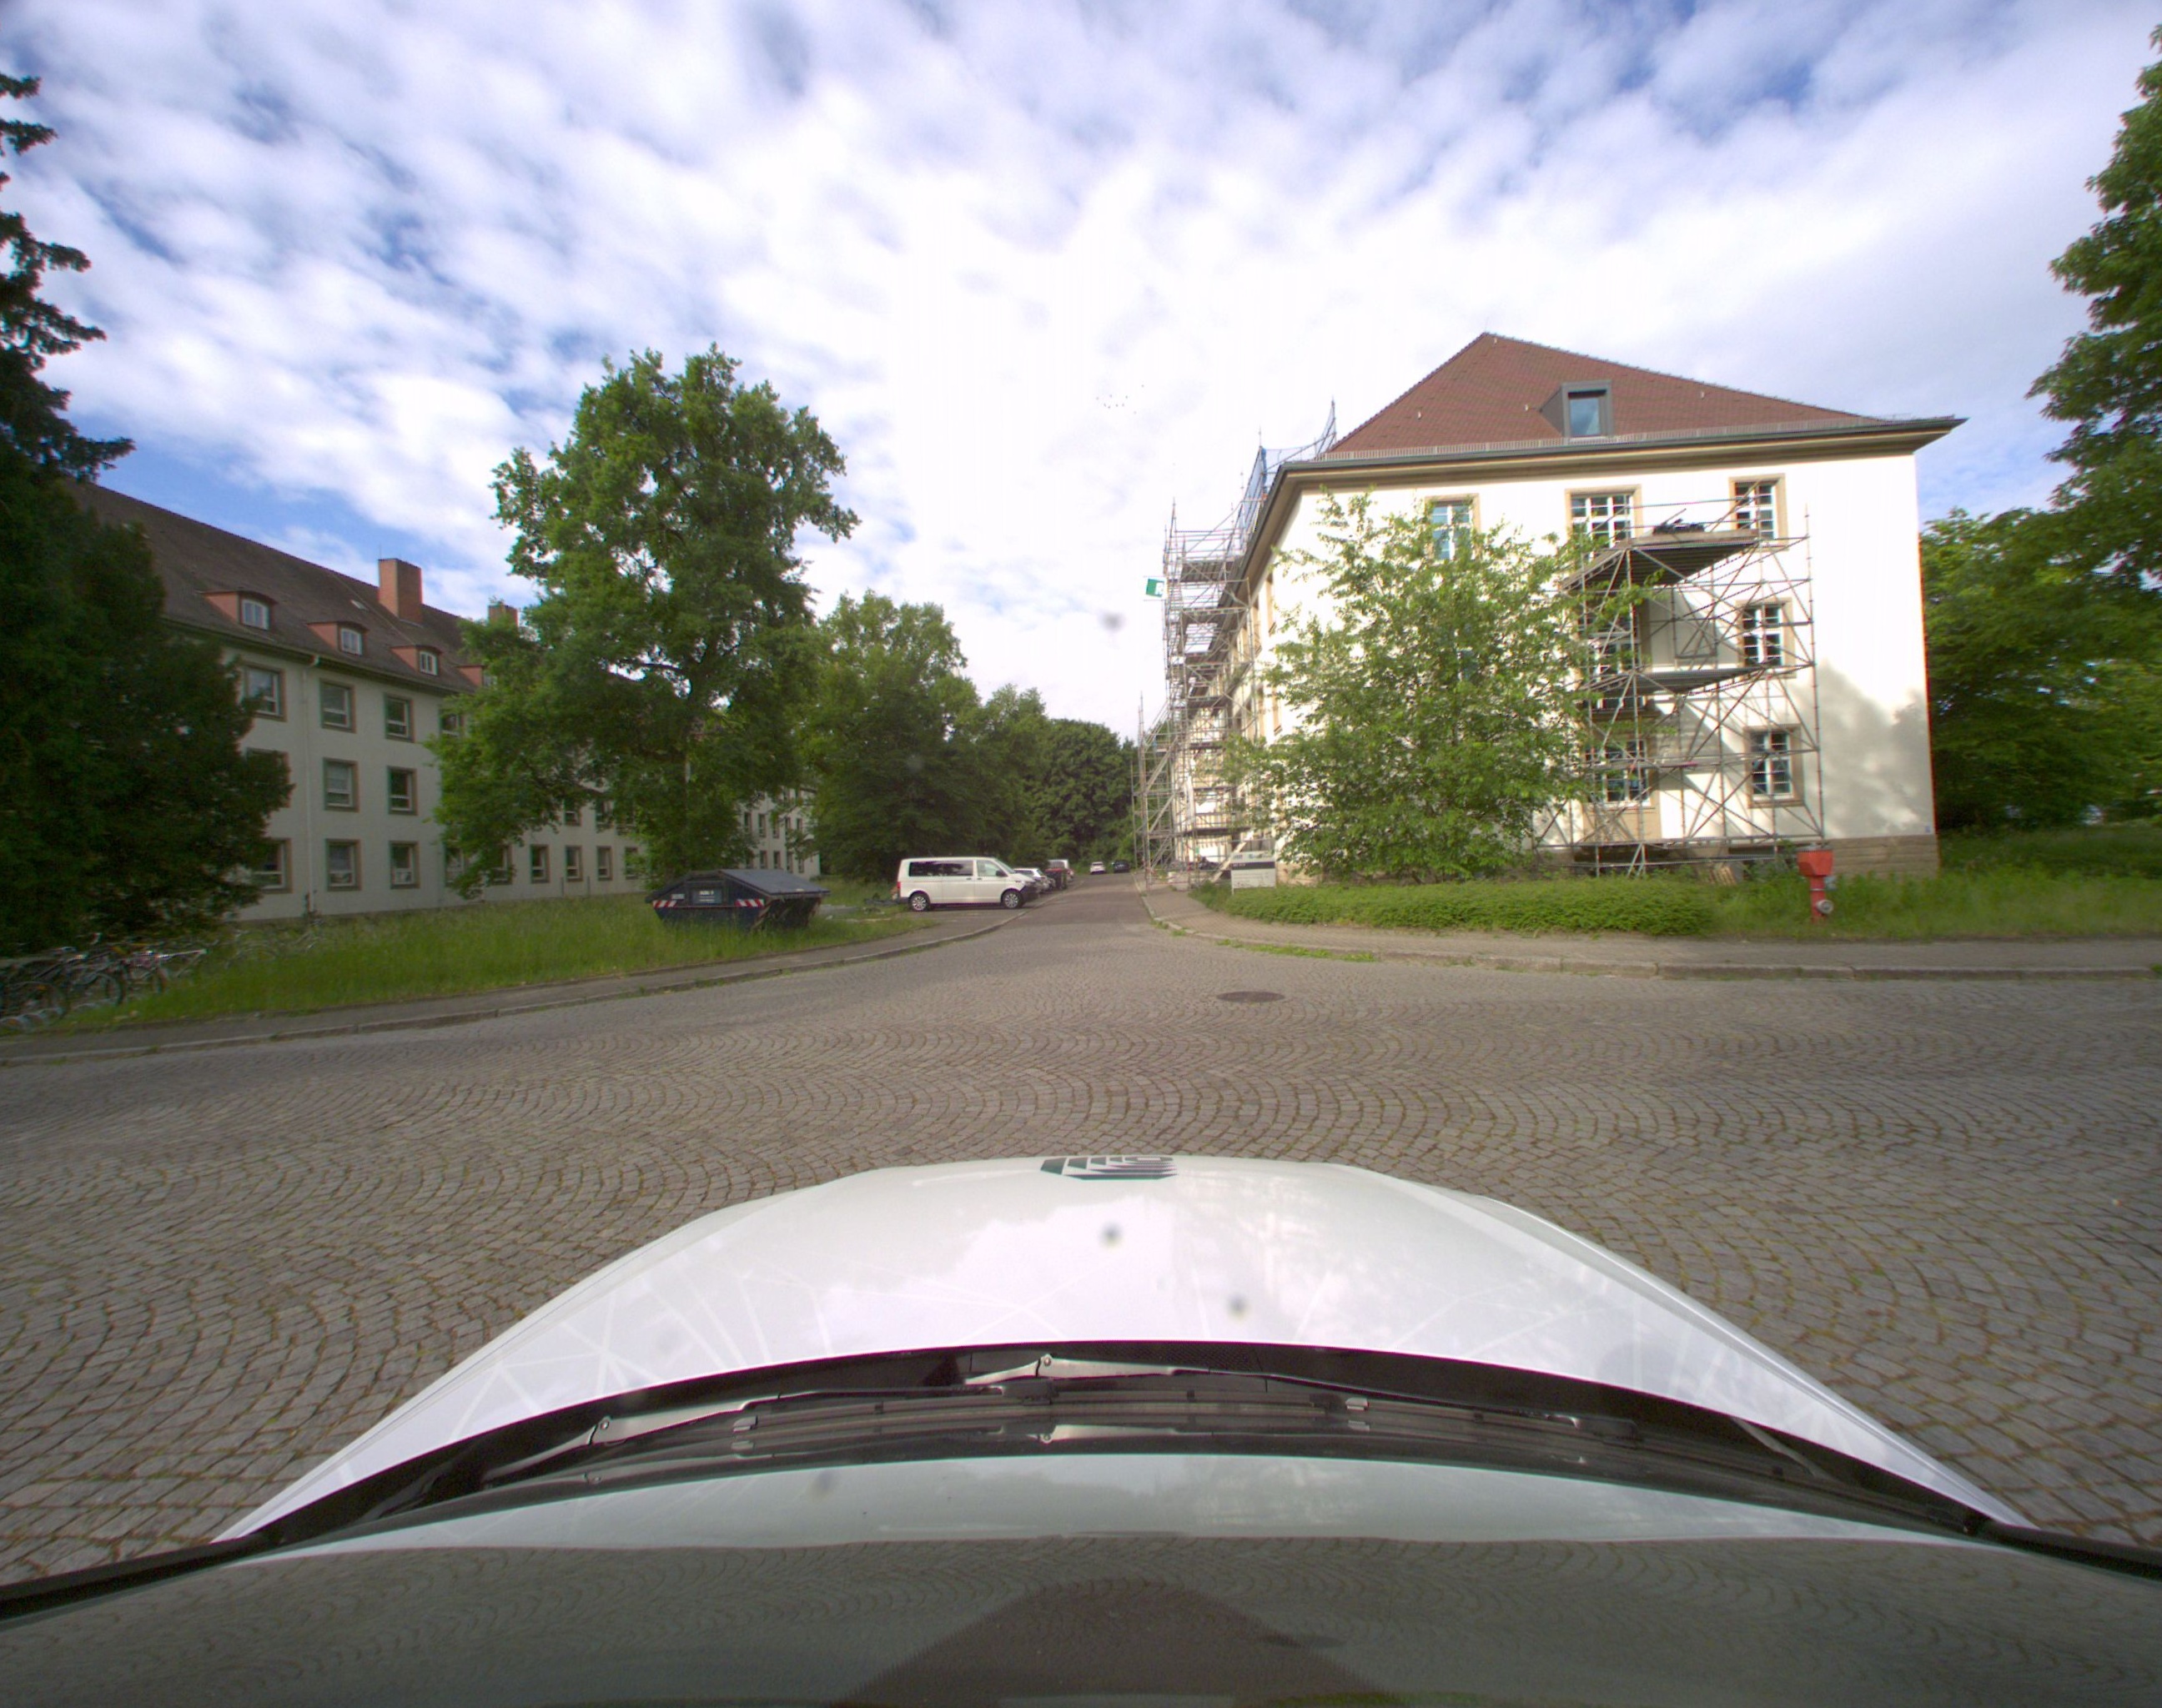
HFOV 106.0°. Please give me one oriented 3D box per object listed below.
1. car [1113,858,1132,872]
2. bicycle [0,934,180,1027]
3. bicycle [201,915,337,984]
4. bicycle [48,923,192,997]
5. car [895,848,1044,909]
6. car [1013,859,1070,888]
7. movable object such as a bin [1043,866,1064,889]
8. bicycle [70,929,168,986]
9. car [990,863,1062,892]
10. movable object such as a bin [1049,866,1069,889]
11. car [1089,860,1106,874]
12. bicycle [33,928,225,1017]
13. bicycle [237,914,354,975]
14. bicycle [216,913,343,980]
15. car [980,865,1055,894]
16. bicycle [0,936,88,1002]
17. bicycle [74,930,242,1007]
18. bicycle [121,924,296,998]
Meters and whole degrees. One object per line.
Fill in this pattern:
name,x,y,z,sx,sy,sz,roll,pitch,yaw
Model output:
car,4.908,1.275,96.407,2.053,1.593,4.006,0,-1,6
bicycle,-14.831,1.856,12.095,1.772,1.103,0.699,-4,2,-16
bicycle,-15.869,1.855,15.959,1.775,1.105,0.539,-4,2,-16
bicycle,-18.386,2.009,15.625,1.646,1.185,0.570,-3,1,-23
car,-4.092,0.898,30.574,5.180,2.060,2.189,-2,-1,2
car,-2.751,1.391,58.045,3.975,2.014,1.920,0,-1,-1
movable object such as a bin,-1.635,1.415,48.976,1.178,1.407,0.976,0,-1,4
bicycle,-19.956,2.129,16.912,1.262,1.029,0.431,-4,-3,-16
car,-3.036,1.305,45.397,3.658,1.592,1.769,0,-1,10
movable object such as a bin,-1.352,1.436,50.280,1.178,1.407,0.976,0,-1,4
car,1.957,1.541,96.503,1.994,1.548,3.958,0,-1,0
bicycle,-14.932,1.840,12.833,1.797,1.103,0.699,-4,2,-16
bicycle,-16.332,1.868,16.961,1.620,1.058,0.524,-4,2,-16
bicycle,-16.149,1.842,16.445,1.700,1.116,0.539,-4,2,-16
car,-3.366,1.331,43.251,3.605,1.481,1.826,0,-1,11
bicycle,-19.059,2.071,14.566,1.520,1.035,0.540,-3,1,-27
bicycle,-15.233,1.878,13.490,1.695,1.001,0.629,-4,2,-16
bicycle,-15.279,1.851,14.330,1.958,1.004,0.683,-4,2,-16
